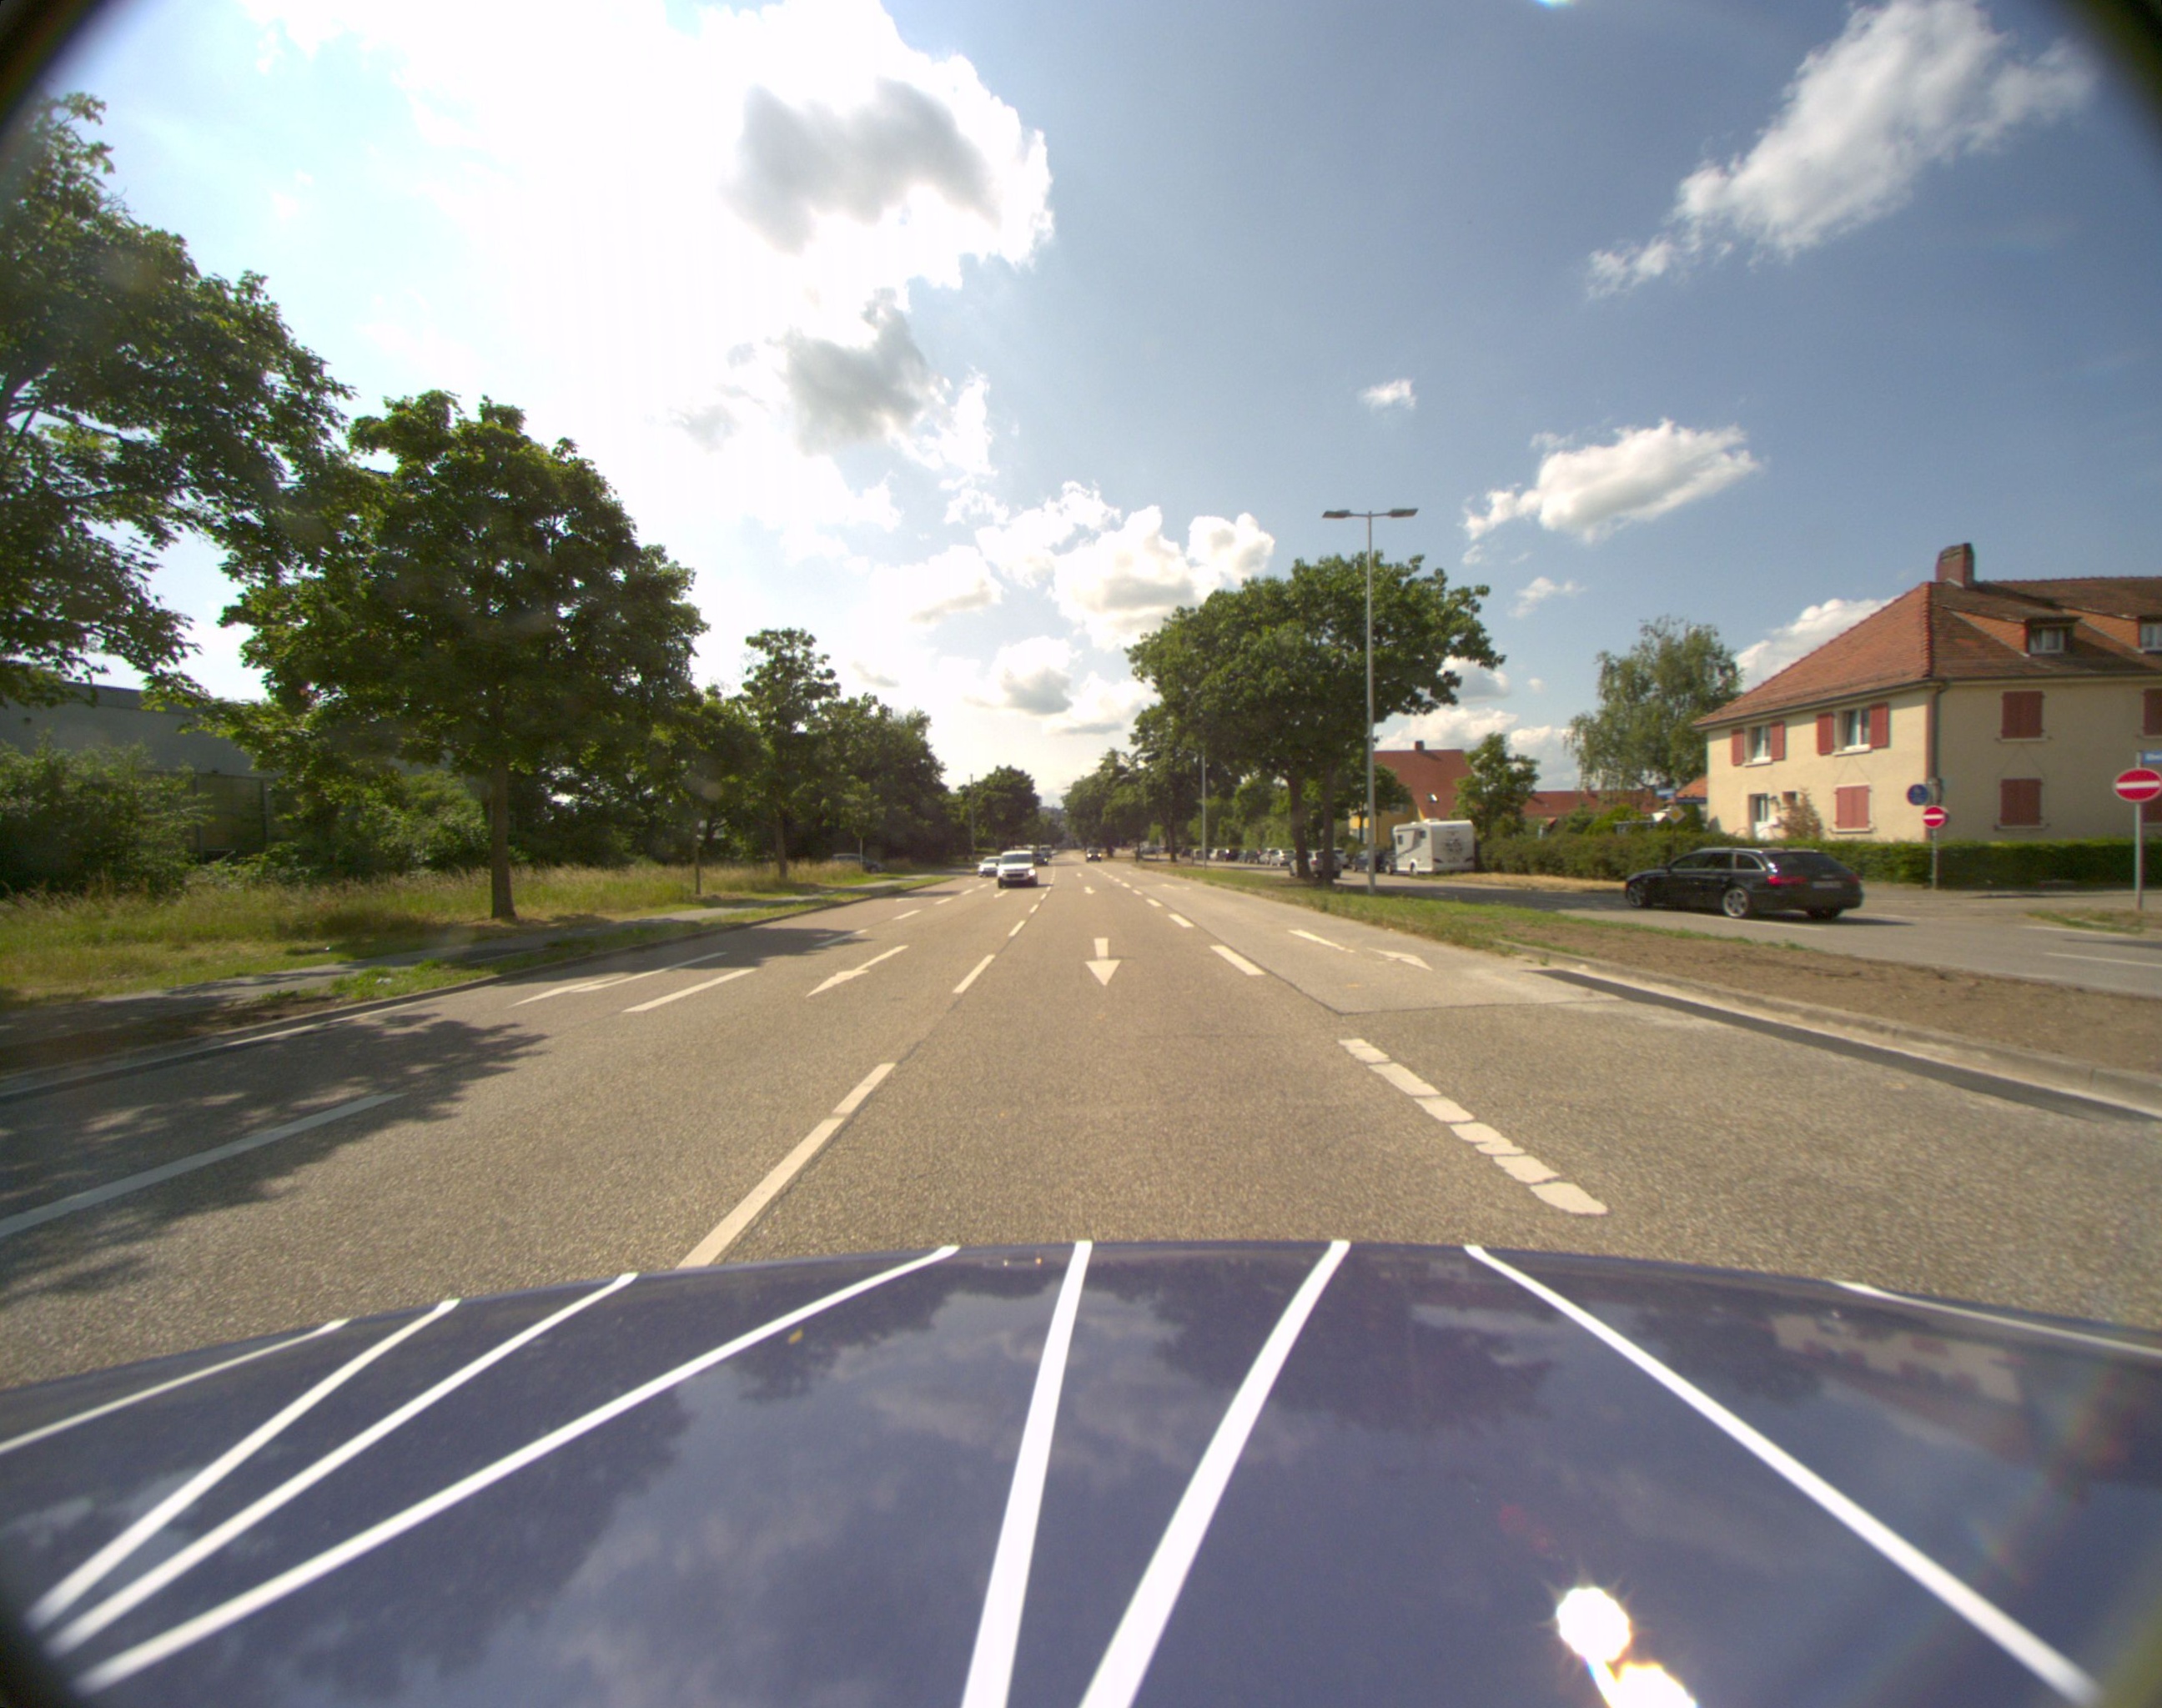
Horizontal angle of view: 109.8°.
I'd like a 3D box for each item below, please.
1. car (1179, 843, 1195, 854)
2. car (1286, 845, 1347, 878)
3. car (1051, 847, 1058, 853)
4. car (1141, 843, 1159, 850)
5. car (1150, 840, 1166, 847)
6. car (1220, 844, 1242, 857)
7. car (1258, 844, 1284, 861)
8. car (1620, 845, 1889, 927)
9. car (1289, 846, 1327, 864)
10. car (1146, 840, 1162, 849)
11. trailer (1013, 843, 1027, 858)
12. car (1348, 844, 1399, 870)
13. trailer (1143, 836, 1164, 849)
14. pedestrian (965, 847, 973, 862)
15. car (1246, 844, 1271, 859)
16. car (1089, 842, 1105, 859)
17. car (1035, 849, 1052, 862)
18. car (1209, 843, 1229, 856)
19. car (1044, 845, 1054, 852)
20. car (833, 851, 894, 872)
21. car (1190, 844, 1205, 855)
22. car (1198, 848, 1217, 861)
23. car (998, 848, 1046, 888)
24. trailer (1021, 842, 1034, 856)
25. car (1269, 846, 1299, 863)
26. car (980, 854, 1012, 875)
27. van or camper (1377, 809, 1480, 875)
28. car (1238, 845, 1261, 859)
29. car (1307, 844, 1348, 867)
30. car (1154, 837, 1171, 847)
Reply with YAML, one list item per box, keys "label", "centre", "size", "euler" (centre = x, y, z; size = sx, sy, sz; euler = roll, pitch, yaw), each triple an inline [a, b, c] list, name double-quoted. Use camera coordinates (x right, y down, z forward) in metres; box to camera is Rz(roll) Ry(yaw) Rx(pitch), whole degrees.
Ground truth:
- label: "car"
  centre: [17.169, -0.870, 123.151]
  size: [1.772, 1.543, 3.998]
  euler: [-3, 2, -2]
- label: "car"
  centre: [12.434, 0.352, 40.401]
  size: [1.737, 1.499, 4.651]
  euler: [2, 2, -1]
- label: "car"
  centre: [-7.030, -0.951, 201.252]
  size: [1.799, 1.501, 3.999]
  euler: [-1, 1, 0]
- label: "car"
  centre: [17.145, -1.909, 188.945]
  size: [3.997, 1.502, 1.799]
  euler: [-3, 2, -1]
- label: "car"
  centre: [18.383, -2.445, 181.538]
  size: [4.007, 1.390, 1.569]
  euler: [-5, 2, -44]
- label: "car"
  centre: [17.964, -0.386, 91.290]
  size: [1.665, 1.473, 4.102]
  euler: [-3, 1, -2]
- label: "car"
  centre: [18.230, -0.163, 73.105]
  size: [1.406, 1.549, 3.741]
  euler: [-3, 1, -1]
- label: "car"
  centre: [13.789, 0.559, 16.027]
  size: [1.775, 1.430, 4.576]
  euler: [0, 1, 3]
- label: "car"
  centre: [18.353, 0.082, 61.612]
  size: [1.640, 1.299, 4.583]
  euler: [-3, 1, 1]
- label: "car"
  centre: [17.693, -2.355, 183.973]
  size: [4.007, 2.002, 1.800]
  euler: [-5, 2, -44]
- label: "trailer"
  centre: [-9.293, -0.547, 115.516]
  size: [1.958, 2.338, 4.603]
  euler: [0, 1, -3]
- label: "car"
  centre: [18.344, 0.152, 47.786]
  size: [1.640, 1.477, 3.991]
  euler: [-3, 2, 1]
- label: "trailer"
  centre: [19.092, -3.083, 200.986]
  size: [2.820, 3.090, 5.763]
  euler: [-3, 1, 37]
- label: "pedestrian"
  centre: [-13.204, 0.062, 89.654]
  size: [0.719, 1.784, 0.739]
  euler: [-3, 2, -2]
- label: "car"
  centre: [18.208, -0.267, 77.970]
  size: [1.406, 1.387, 4.355]
  euler: [-3, 1, -1]
- label: "car"
  centre: [2.005, -0.466, 95.053]
  size: [1.768, 1.893, 4.540]
  euler: [-3, 2, 1]
- label: "car"
  centre: [-4.257, 0.155, 86.636]
  size: [1.892, 1.281, 3.998]
  euler: [-3, 2, -2]
- label: "car"
  centre: [17.917, -0.604, 98.522]
  size: [1.665, 1.443, 3.845]
  euler: [-3, 2, -2]
- label: "car"
  centre: [-6.323, -1.069, 151.021]
  size: [1.892, 1.281, 3.998]
  euler: [-3, 2, -2]
- label: "car"
  centre: [-16.710, 0.583, 58.494]
  size: [4.175, 1.484, 1.784]
  euler: [1, -1, -5]
- label: "car"
  centre: [17.214, -0.676, 112.306]
  size: [1.598, 1.453, 3.533]
  euler: [-3, 2, -2]
- label: "car"
  centre: [17.608, 0.094, 106.087]
  size: [1.665, 1.603, 4.312]
  euler: [-3, 2, -2]
- label: "car"
  centre: [-2.860, 0.624, 37.575]
  size: [1.936, 1.775, 4.715]
  euler: [-3, 1, 0]
- label: "trailer"
  centre: [-9.604, -0.939, 136.330]
  size: [1.999, 2.352, 4.780]
  euler: [3, 1, -1]
- label: "car"
  centre: [18.114, 0.010, 67.918]
  size: [1.514, 1.362, 4.530]
  euler: [-3, 1, 1]
- label: "car"
  centre: [-6.222, 0.742, 55.978]
  size: [1.736, 1.477, 4.092]
  euler: [-2, 0, 2]
- label: "van or camper"
  centre: [18.455, -0.614, 40.930]
  size: [2.264, 3.094, 7.320]
  euler: [-3, 0, 2]
- label: "car"
  centre: [18.297, -0.197, 82.667]
  size: [1.566, 1.387, 3.476]
  euler: [-3, 2, -1]
- label: "car"
  centre: [18.219, 0.086, 56.403]
  size: [1.693, 1.477, 4.123]
  euler: [-3, 2, 1]
- label: "car"
  centre: [18.860, -2.820, 175.748]
  size: [4.007, 2.002, 1.800]
  euler: [-5, 2, -44]
